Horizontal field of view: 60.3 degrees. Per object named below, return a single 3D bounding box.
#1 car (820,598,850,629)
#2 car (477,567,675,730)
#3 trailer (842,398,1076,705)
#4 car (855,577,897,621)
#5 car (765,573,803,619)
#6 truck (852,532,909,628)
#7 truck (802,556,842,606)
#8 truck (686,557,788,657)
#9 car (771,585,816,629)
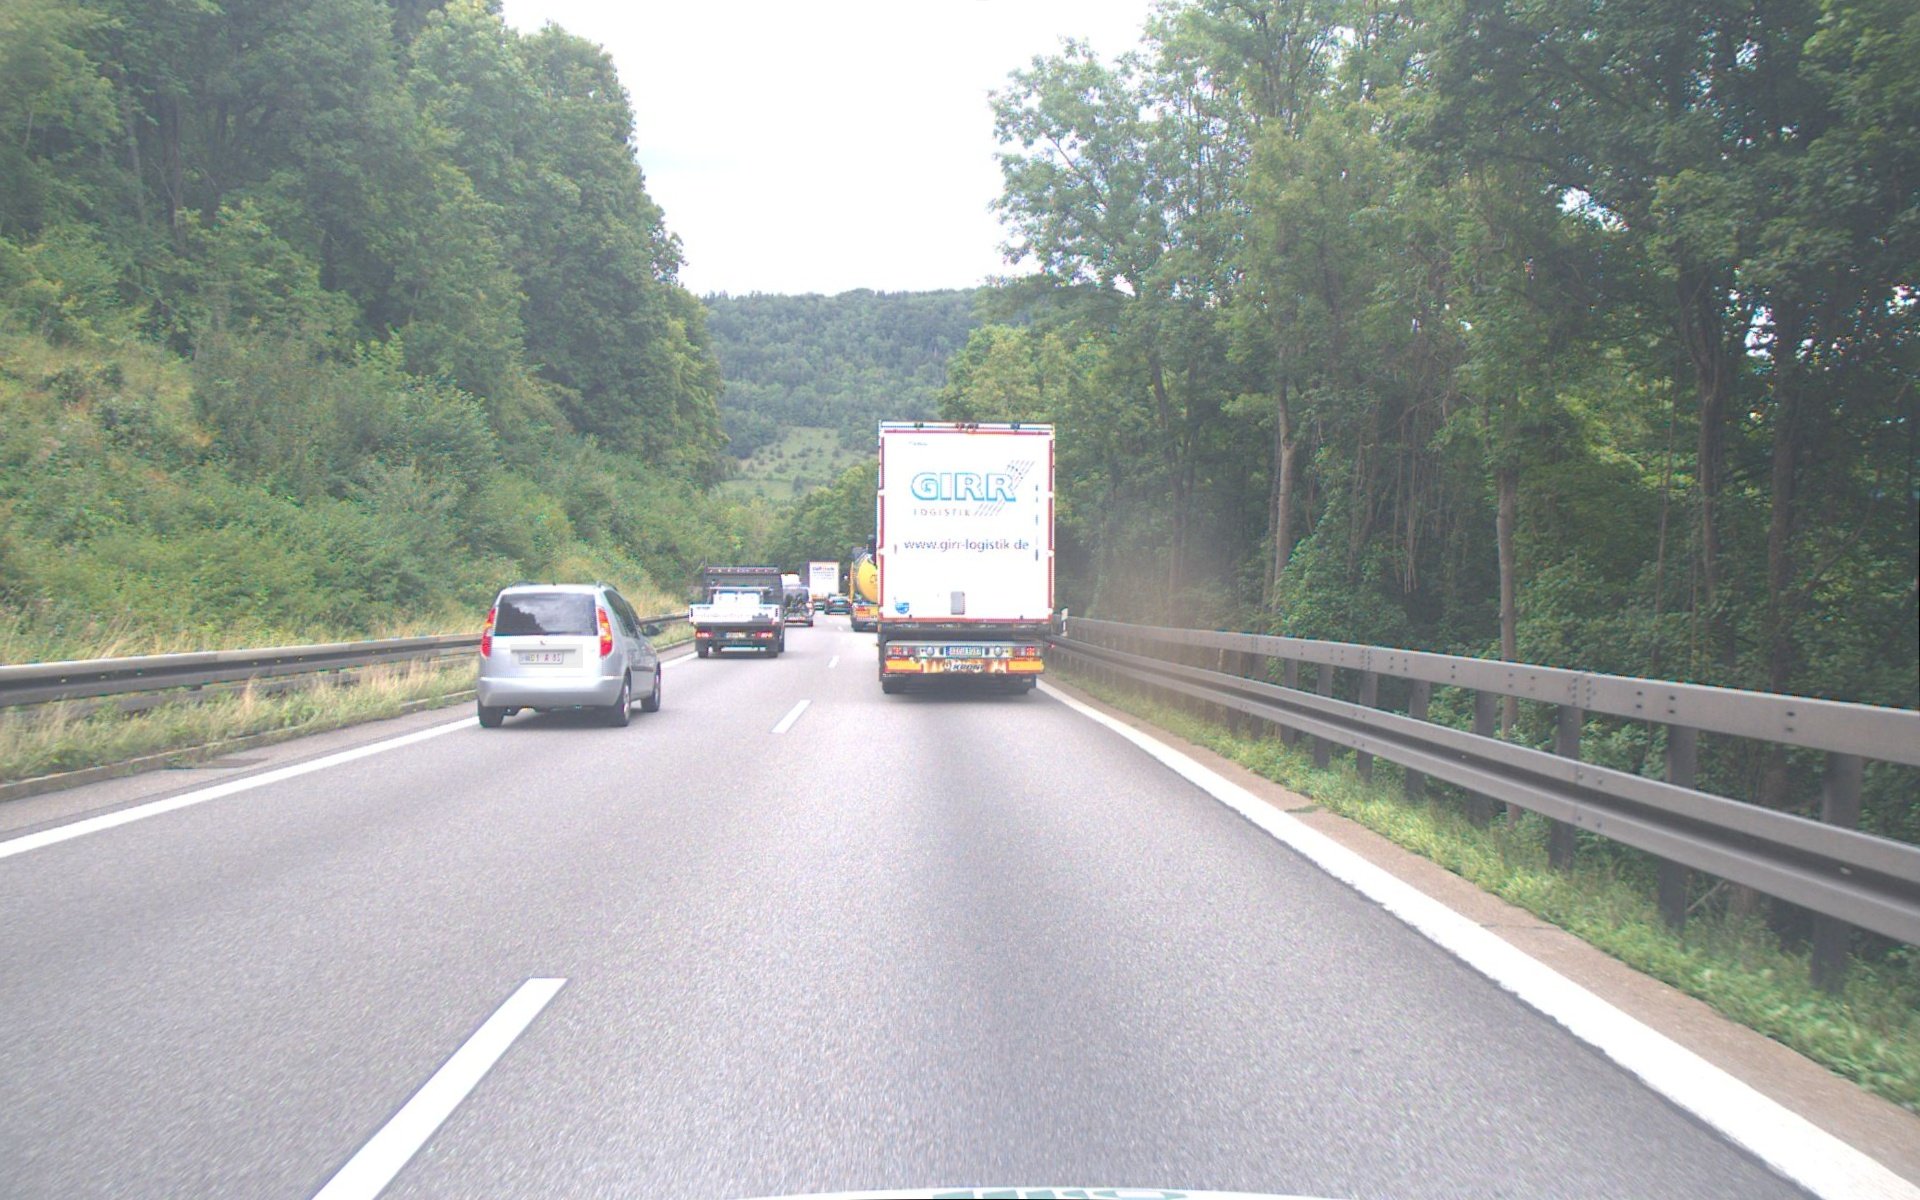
[{"bbox_3d":[-8.748,0.956,115.556,1.955,2.049,3.995,2,0,-6],"label":"car"},{"bbox_3d":[-4.558,0.530,20.214,1.601,1.757,4.342,1,0,-3],"label":"car"},{"bbox_3d":[-0.293,-0.701,27.828,3.071,4.113,9.432,3,0,-4],"label":"trailer"},{"bbox_3d":[-4.167,-0.036,81.567,1.954,2.049,4.329,2,0,-4],"label":"car"},{"bbox_3d":[-10.390,-0.255,98.008,2.082,2.644,5.557,1,0,-5],"label":"car"},{"bbox_3d":[-3.375,-0.806,71.358,2.188,3.870,6.821,2,0,-1],"label":"truck"},{"bbox_3d":[-11.619,-1.513,139.079,3.010,3.945,8.446,2,0,-6],"label":"truck"},{"bbox_3d":[-5.664,0.165,42.834,2.304,2.313,6.841,2,0,-6],"label":"truck"},{"bbox_3d":[-7.852,0.314,78.267,1.979,1.947,5.557,2,0,-5],"label":"car"}]
